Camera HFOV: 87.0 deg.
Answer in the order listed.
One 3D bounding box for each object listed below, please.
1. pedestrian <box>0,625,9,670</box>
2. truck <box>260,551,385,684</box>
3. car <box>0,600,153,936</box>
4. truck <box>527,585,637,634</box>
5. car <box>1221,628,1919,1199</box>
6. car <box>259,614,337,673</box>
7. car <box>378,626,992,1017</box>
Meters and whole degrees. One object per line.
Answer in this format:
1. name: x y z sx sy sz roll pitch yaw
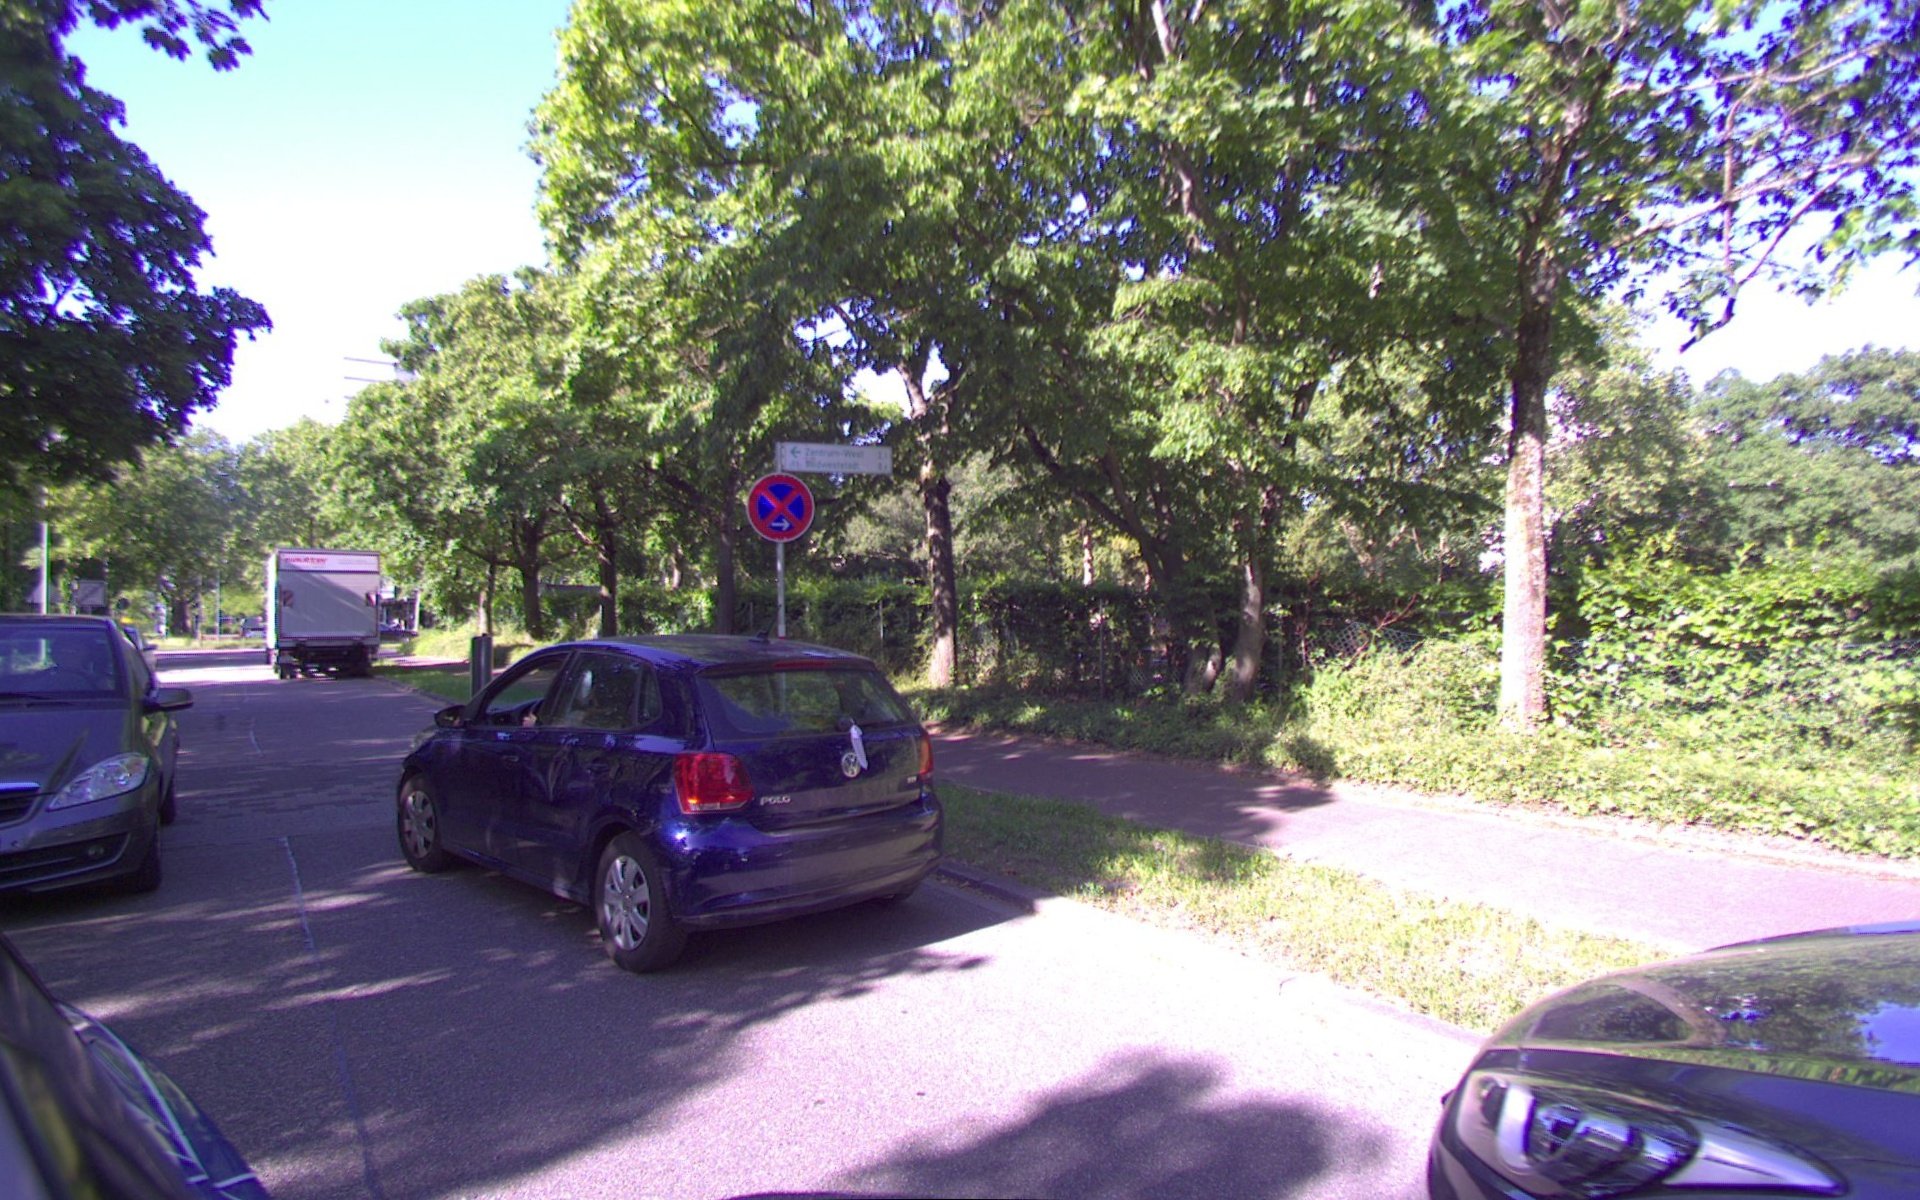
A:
1. pedestrian: -39.755 1.943 41.672 0.780 1.846 0.673 0 -1 -36
2. truck: -20.209 0.576 31.841 2.698 3.669 8.119 0 -1 -37
3. car: -6.072 0.851 6.198 1.708 1.599 4.007 0 -1 -40
4. truck: -16.367 0.459 43.857 3.935 2.029 2.208 2 -3 -38
5. car: 2.411 0.752 0.535 1.732 1.465 4.252 2 -3 -37
6. car: -26.060 1.669 39.734 2.092 2.112 6.598 0 -1 -37
7. car: -1.711 0.881 5.587 3.652 1.437 1.583 -2 -3 43
